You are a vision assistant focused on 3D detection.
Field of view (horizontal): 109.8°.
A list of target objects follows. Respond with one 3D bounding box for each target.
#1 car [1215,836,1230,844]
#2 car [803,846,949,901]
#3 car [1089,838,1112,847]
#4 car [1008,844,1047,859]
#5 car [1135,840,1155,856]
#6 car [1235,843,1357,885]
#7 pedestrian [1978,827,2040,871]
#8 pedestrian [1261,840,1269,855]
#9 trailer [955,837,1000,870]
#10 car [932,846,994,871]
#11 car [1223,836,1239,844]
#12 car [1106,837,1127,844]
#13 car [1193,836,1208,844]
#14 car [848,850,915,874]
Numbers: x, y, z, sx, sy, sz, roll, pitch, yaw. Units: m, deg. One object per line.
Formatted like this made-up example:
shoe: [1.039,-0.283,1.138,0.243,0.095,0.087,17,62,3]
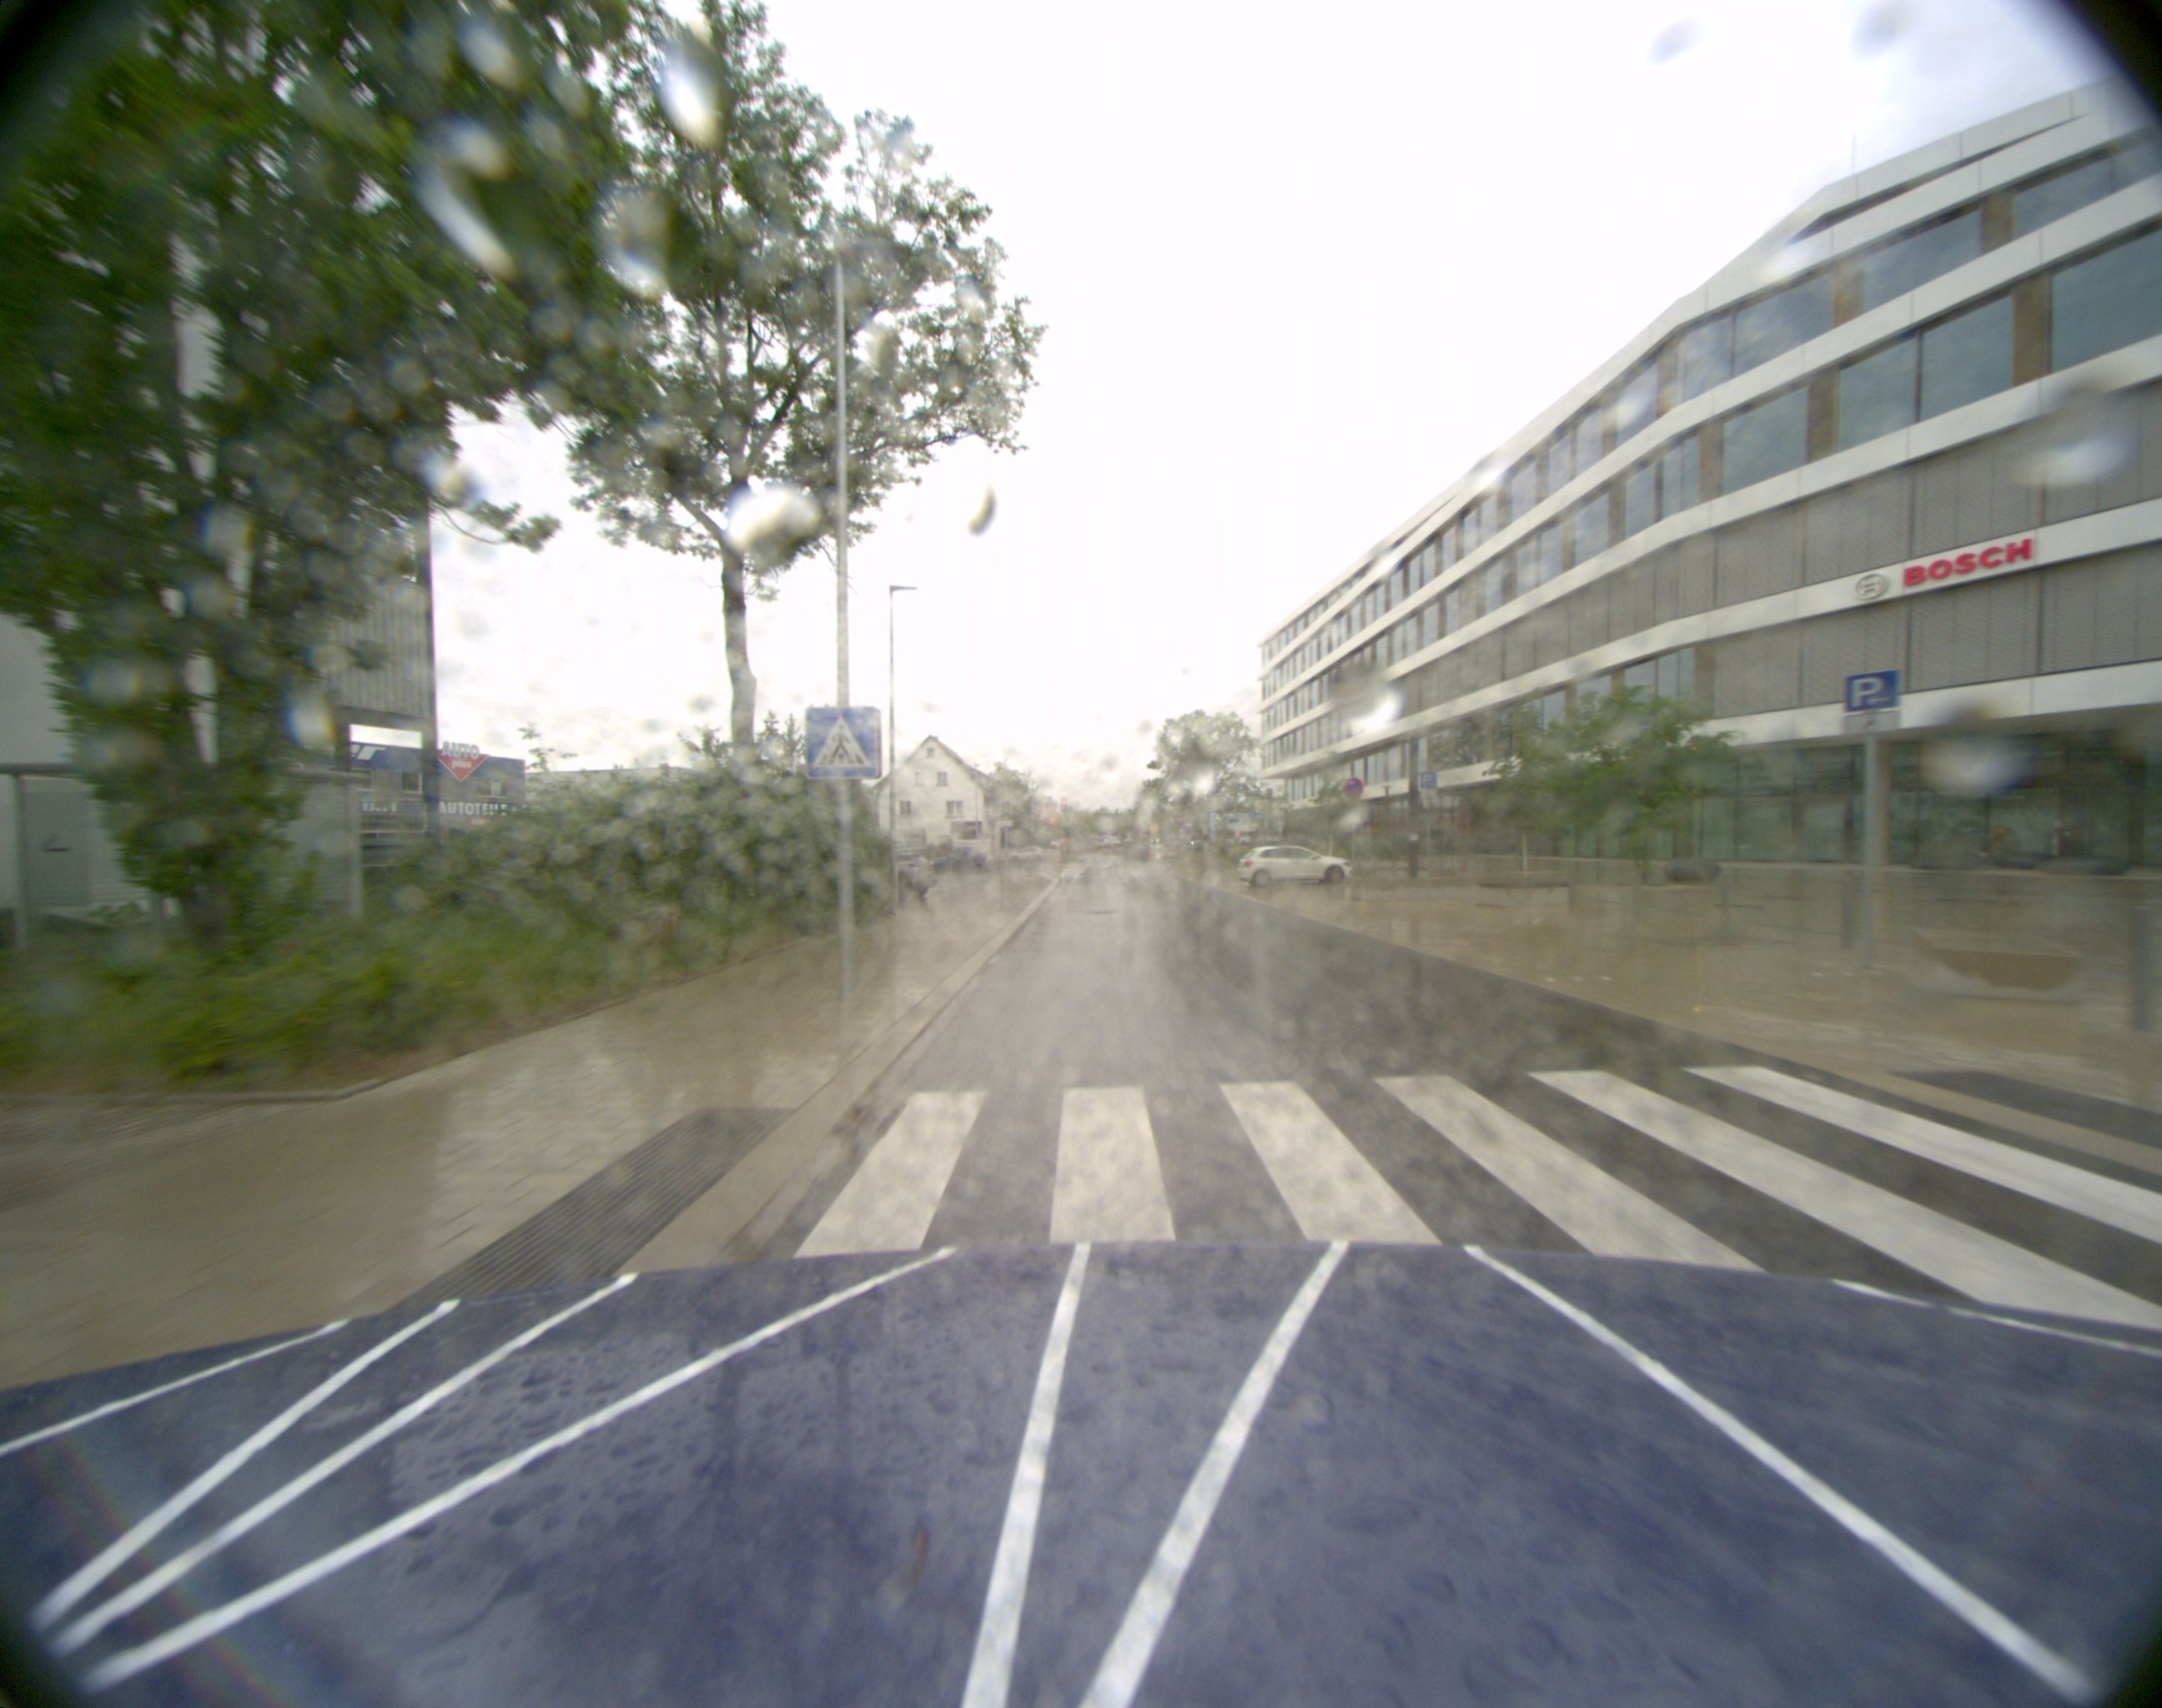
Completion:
car: [27.540,-2.752,148.154,1.883,1.288,4.006,-4,0,25]
car: [-6.747,0.613,25.225,4.214,1.640,2.001,1,1,10]
car: [3.936,-2.328,154.115,4.095,1.696,2.003,-1,1,28]
car: [-6.035,-0.310,85.719,4.144,1.571,1.997,1,1,-13]
car: [7.558,-0.720,90.380,2.008,1.807,4.978,-1,1,0]
car: [7.777,0.337,27.749,3.937,1.415,1.898,-1,1,2]
pedestrian: [29.477,-0.172,24.141,0.899,1.307,1.059,-6,3,-26]
pedestrian: [22.136,-0.830,91.543,0.726,1.694,0.956,-4,3,4]
trailer: [-7.018,-0.059,51.610,2.708,2.159,1.548,-1,1,3]
car: [-7.586,0.288,49.174,3.735,1.520,1.649,0,2,1]
car: [26.540,-2.508,134.569,1.883,1.288,4.006,-4,0,25]
car: [7.624,-2.881,163.517,3.990,1.434,2.003,-1,1,25]
car: [25.281,-2.999,160.935,1.916,1.521,4.006,-2,0,27]
car: [-12.407,0.478,47.381,3.736,1.441,1.730,-1,1,-2]
